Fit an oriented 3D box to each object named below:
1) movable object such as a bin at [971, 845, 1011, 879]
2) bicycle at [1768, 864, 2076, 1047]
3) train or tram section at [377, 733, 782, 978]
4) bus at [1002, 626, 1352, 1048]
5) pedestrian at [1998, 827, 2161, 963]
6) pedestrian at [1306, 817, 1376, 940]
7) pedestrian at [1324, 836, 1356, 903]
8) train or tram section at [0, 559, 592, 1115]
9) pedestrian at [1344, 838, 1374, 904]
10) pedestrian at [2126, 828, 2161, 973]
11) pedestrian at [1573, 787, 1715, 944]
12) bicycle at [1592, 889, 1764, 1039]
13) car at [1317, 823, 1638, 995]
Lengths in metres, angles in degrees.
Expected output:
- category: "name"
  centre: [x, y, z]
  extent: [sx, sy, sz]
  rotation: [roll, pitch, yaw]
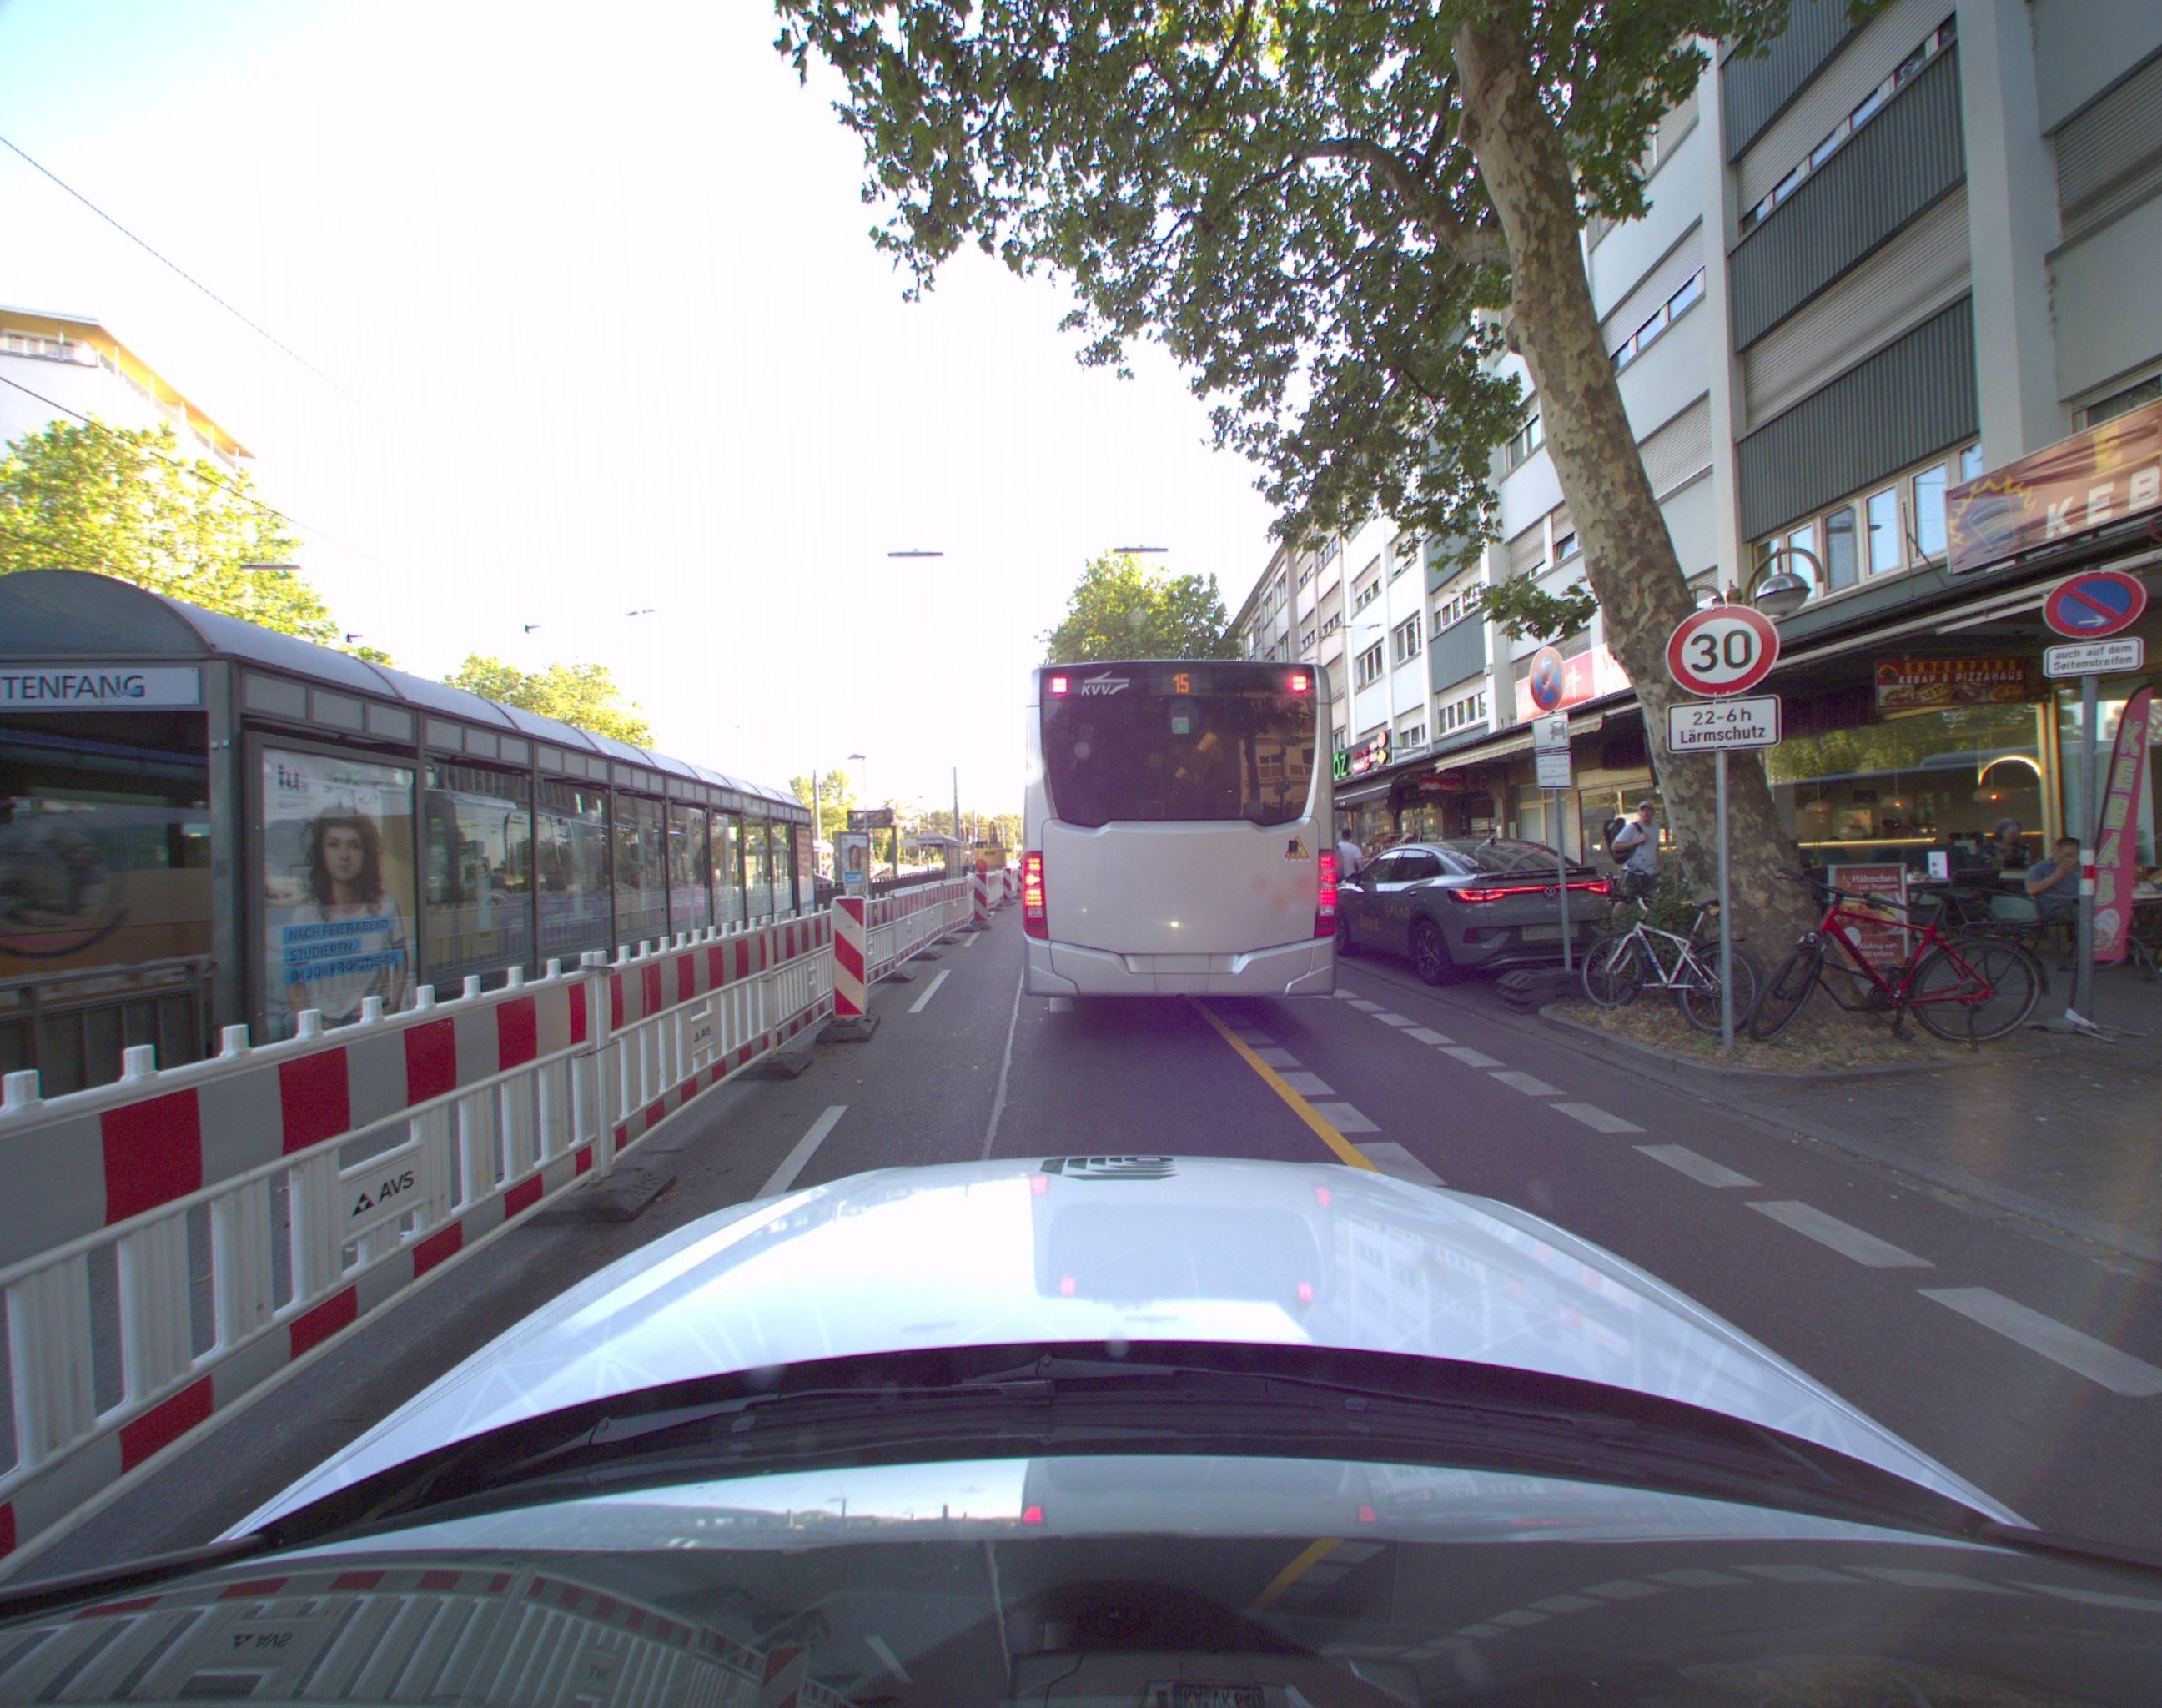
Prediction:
- category: "movable object such as a bin"
  centre: [-7.038, 0.600, 64.015]
  extent: [2.800, 2.462, 3.995]
  rotation: [-2, 0, -3]
- category: "bicycle"
  centre: [5.501, 0.674, 5.378]
  extent: [1.450, 1.066, 0.297]
  rotation: [-6, 2, 13]
- category: "train or tram section"
  centre: [-9.133, 0.041, 16.962]
  extent: [2.812, 3.487, 10.318]
  rotation: [-2, 0, -5]
- category: "bus"
  centre: [0.925, -0.122, 11.370]
  extent: [2.598, 3.170, 10.297]
  rotation: [-1, 0, 2]
- category: "pedestrian"
  centre: [9.631, 0.383, 7.855]
  extent: [0.673, 1.203, 0.706]
  rotation: [-5, -1, 11]
- category: "pedestrian"
  centre: [4.412, 0.405, 13.829]
  extent: [0.718, 2.013, 0.762]
  rotation: [-3, -1, -42]
- category: "pedestrian"
  centre: [8.062, 0.477, 25.356]
  extent: [0.689, 2.014, 0.696]
  rotation: [-2, -1, -2]
- category: "train or tram section"
  centre: [-8.307, -0.063, 6.762]
  extent: [2.830, 3.487, 10.323]
  rotation: [-2, 0, -4]
- category: "pedestrian"
  centre: [8.738, 0.535, 25.594]
  extent: [0.611, 2.014, 0.695]
  rotation: [-2, -1, -3]
- category: "pedestrian"
  centre: [9.568, 0.387, 6.818]
  extent: [0.612, 1.243, 0.714]
  rotation: [-5, -1, 11]
- category: "pedestrian"
  centre: [7.276, 0.146, 10.603]
  extent: [1.018, 1.890, 1.123]
  rotation: [-2, -1, 1]
- category: "bicycle"
  centre: [4.488, 0.786, 6.197]
  extent: [0.294, 0.927, 1.127]
  rotation: [-6, 2, -8]
- category: "car"
  centre: [4.611, 0.561, 10.321]
  extent: [1.736, 1.597, 4.294]
  rotation: [-4, 0, -3]
